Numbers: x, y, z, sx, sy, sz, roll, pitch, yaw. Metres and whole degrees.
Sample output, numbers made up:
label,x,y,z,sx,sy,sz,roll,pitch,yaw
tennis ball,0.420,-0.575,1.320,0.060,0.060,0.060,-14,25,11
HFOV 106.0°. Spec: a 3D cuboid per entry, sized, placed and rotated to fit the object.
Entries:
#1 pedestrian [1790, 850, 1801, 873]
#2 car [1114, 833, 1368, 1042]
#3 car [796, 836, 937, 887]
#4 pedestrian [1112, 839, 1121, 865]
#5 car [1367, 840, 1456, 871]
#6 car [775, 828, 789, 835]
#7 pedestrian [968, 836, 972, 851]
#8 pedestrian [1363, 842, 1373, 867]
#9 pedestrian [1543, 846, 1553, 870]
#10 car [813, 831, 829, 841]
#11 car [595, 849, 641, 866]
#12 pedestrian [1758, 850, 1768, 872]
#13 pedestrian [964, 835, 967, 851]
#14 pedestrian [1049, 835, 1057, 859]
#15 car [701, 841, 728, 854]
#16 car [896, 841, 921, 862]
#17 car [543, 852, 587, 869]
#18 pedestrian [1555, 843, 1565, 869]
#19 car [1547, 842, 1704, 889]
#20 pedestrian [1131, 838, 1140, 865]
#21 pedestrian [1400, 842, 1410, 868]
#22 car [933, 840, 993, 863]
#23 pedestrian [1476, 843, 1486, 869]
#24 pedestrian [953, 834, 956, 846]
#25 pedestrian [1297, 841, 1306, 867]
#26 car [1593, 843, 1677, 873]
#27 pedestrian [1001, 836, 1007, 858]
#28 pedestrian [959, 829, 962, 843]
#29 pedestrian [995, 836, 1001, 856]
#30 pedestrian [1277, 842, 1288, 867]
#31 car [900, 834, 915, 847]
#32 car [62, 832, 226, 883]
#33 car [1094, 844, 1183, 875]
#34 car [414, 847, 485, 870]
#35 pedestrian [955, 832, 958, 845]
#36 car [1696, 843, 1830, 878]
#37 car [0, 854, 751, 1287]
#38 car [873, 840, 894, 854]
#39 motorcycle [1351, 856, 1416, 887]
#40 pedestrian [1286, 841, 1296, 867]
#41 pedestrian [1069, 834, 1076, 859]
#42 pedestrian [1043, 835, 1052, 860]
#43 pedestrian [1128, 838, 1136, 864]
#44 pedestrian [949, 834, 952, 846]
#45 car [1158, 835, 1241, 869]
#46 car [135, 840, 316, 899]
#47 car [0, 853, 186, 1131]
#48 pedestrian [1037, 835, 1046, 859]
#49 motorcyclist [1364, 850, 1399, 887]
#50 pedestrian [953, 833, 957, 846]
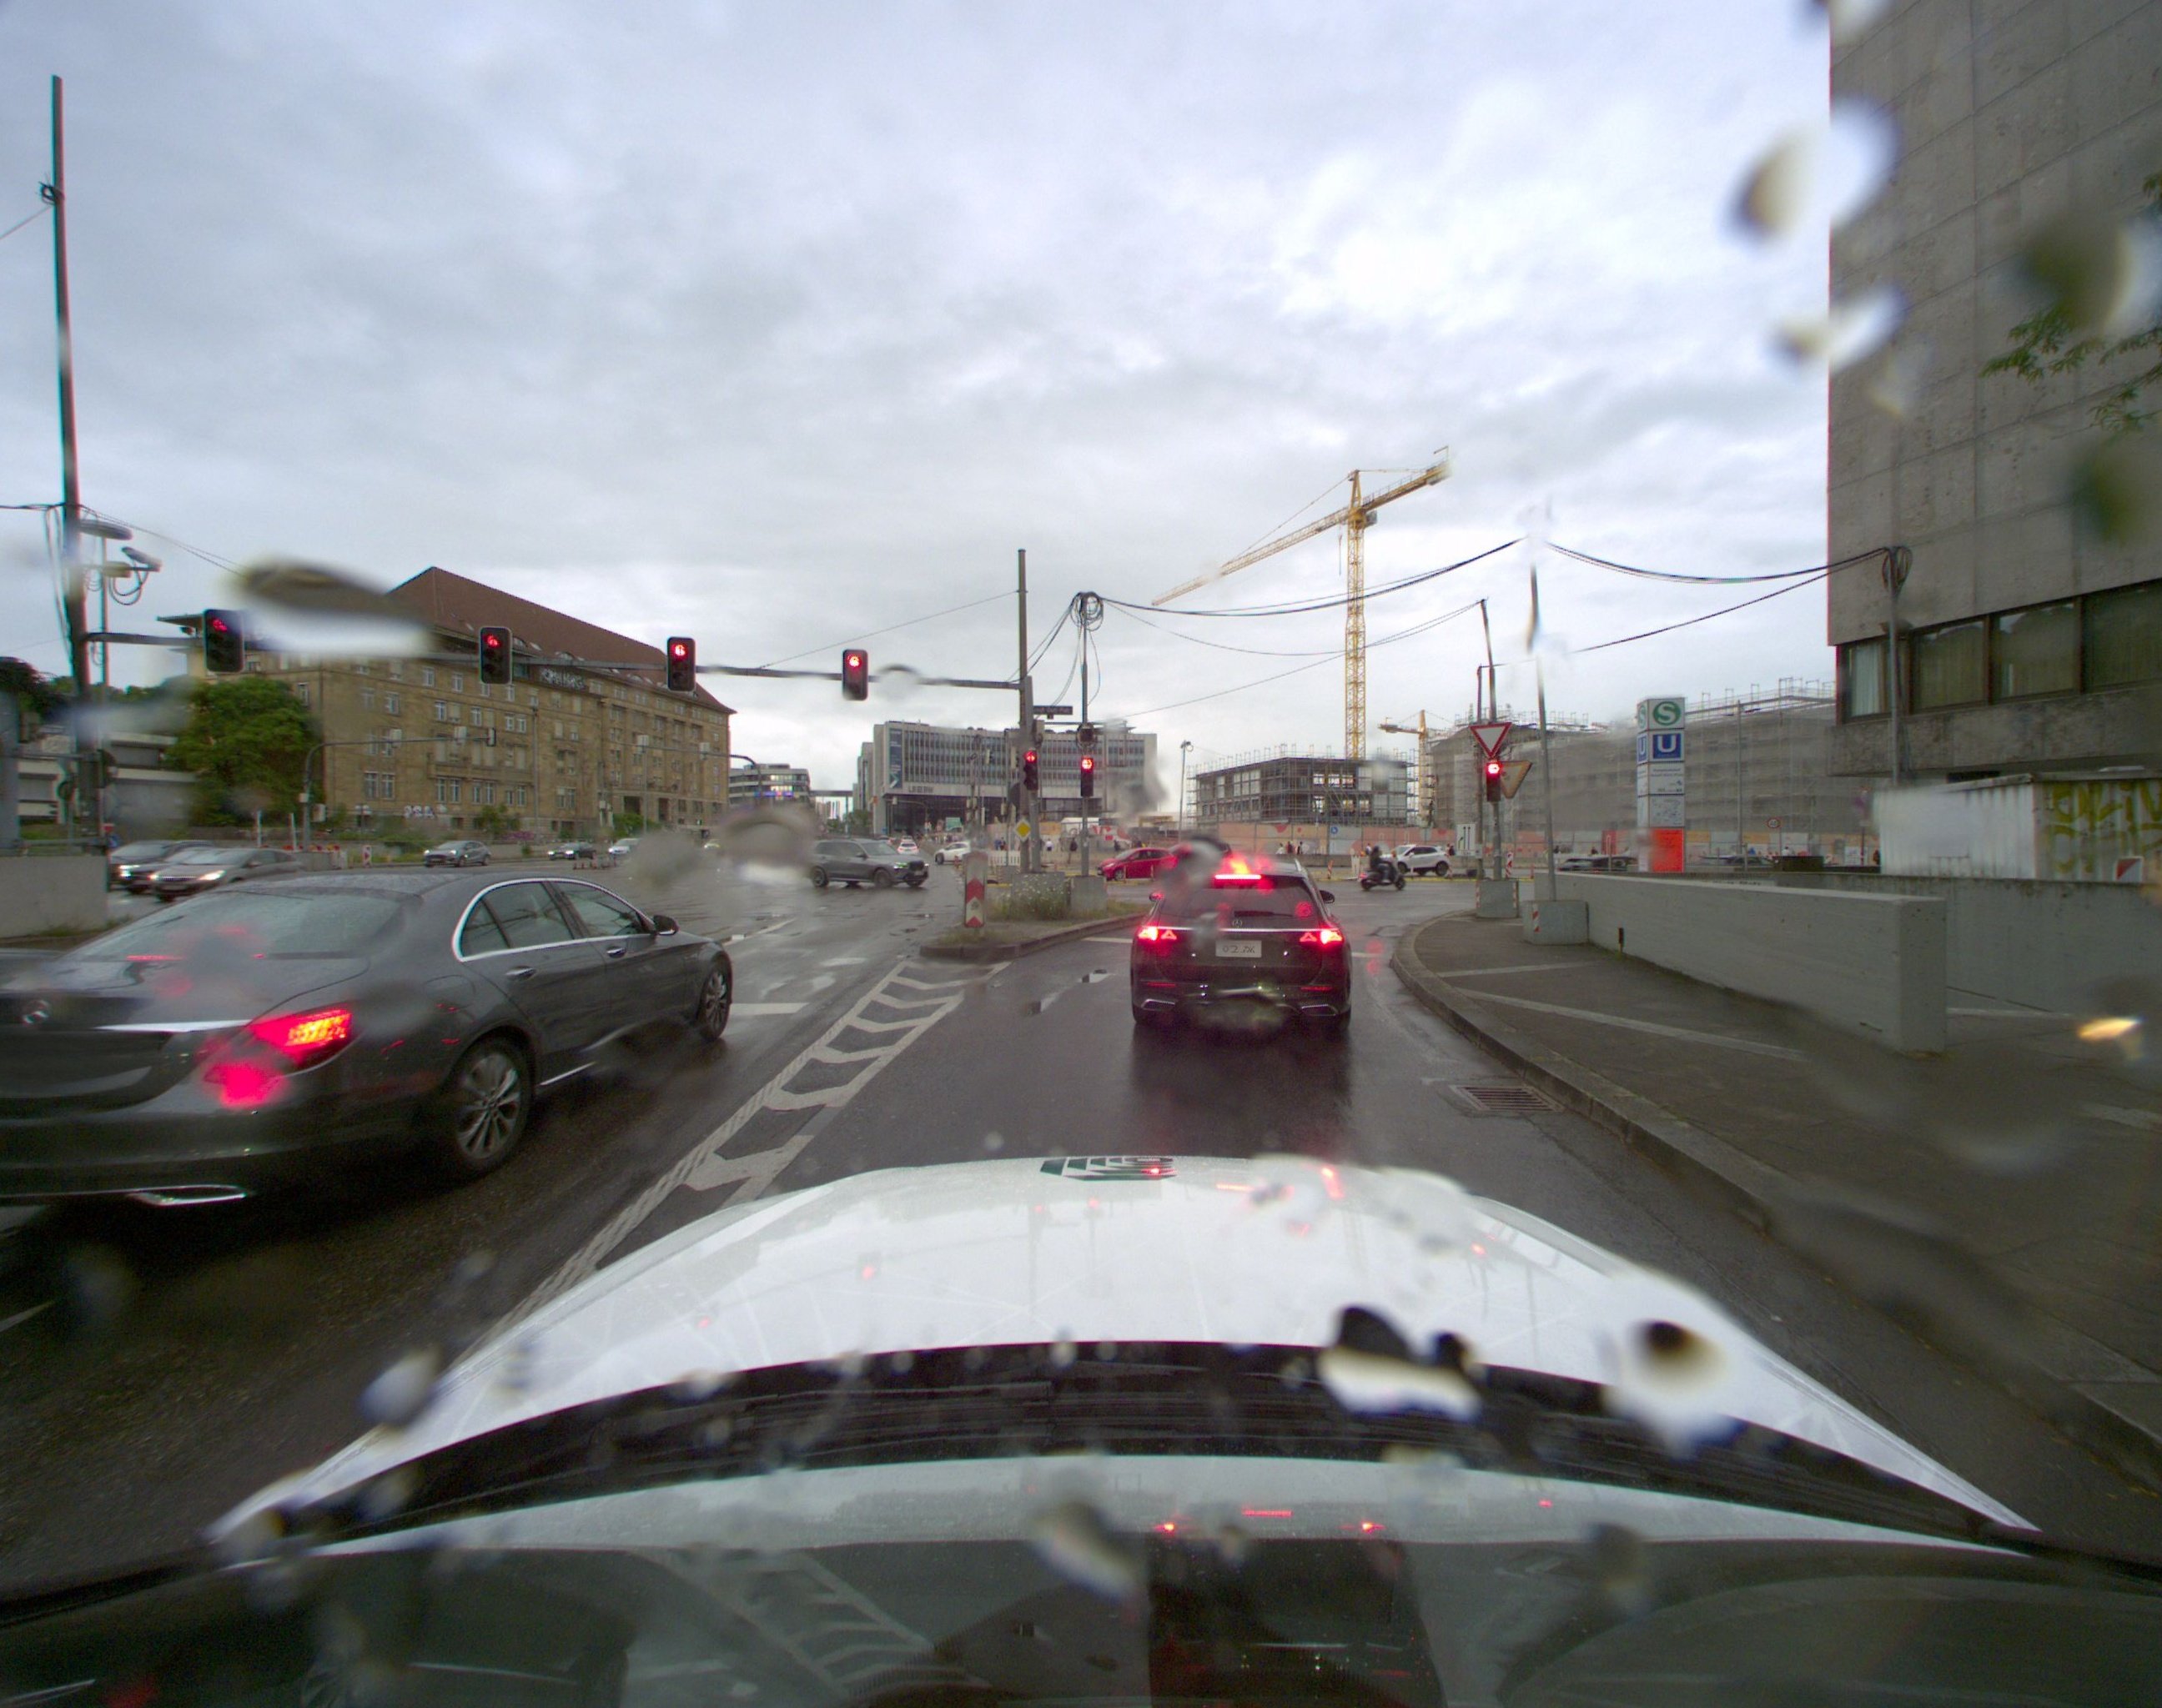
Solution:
label,x,y,z,sx,sy,sz,roll,pitch,yaw
pedestrian,59.253,0.605,67.519,0.574,1.898,0.361,1,-1,-9
car,1.455,0.644,8.129,1.881,1.544,4.001,0,-1,7
car,-8.038,0.267,30.413,5.038,1.798,2.012,0,-1,27
pedestrian,2.645,-0.132,60.136,0.570,1.898,0.364,0,-1,15
car,17.333,0.105,42.770,4.050,1.552,1.988,1,-1,-17
car,-76.782,-5.761,208.933,2.010,1.816,3.952,1,-1,-41
pedestrian,-14.053,-1.360,103.291,0.362,1.898,0.573,1,-1,-15
pedestrian,21.438,0.053,60.773,0.574,1.898,0.361,1,-1,-9
pedestrian,37.634,0.350,65.619,0.574,1.898,0.361,1,-1,-9
car,-57.143,-3.958,179.004,2.010,2.014,3.954,1,-1,-39
car,-35.947,0.279,63.286,1.768,1.260,4.179,1,-1,-10
pedestrian,57.040,0.585,68.091,0.574,1.898,0.361,1,-1,-9
pedestrian,-14.623,-1.399,103.122,0.362,1.898,0.573,1,-1,-15
pedestrian,-2.180,-0.542,63.729,0.364,1.898,0.570,1,-1,-39
car,-39.356,-0.698,87.528,1.768,1.260,3.985,1,-1,-10
car,-14.822,-0.171,69.962,1.996,1.766,4.399,1,-1,-13
car,-38.489,0.503,60.839,1.739,1.260,3.315,1,-1,-12
pedestrian,36.306,0.152,61.768,0.574,1.898,0.361,1,-1,-9
car,18.520,0.390,27.858,4.086,1.507,1.999,1,-1,-1
pedestrian,3.916,-0.194,58.461,0.574,1.898,0.361,1,-1,-6
pedestrian,24.277,0.092,60.956,0.574,1.898,0.361,1,-1,-9
car,-7.814,-0.143,53.899,3.514,1.473,1.797,0,-1,28
pedestrian,29.572,0.123,60.146,0.574,1.898,0.361,1,-1,-9
pedestrian,-20.593,-2.282,132.380,0.362,1.898,0.573,1,-1,-15
pedestrian,16.023,-0.021,59.150,0.574,1.898,0.361,1,-1,-9
car,32.414,0.252,47.699,3.994,1.708,1.989,1,-1,-16
pedestrian,-6.689,-0.596,70.625,0.363,1.898,0.572,1,-1,-24
pedestrian,-17.500,-2.605,118.199,0.362,1.898,0.573,1,-1,-15
pedestrian,-8.070,-0.745,79.062,0.362,1.898,0.572,1,-1,-20
pedestrian,15.214,0.062,61.504,0.656,1.901,0.629,1,-1,-12
car,-24.888,-1.943,116.652,1.733,1.639,3.412,1,2,-20
car,-32.506,0.152,28.437,1.625,1.646,3.983,1,-1,-12
car,2.494,0.263,35.534,3.542,1.304,1.656,1,-1,-17
car,-36.478,0.258,47.144,1.625,1.260,3.983,1,-1,-12
pedestrian,-18.601,-2.301,121.560,0.362,1.898,0.573,1,-1,-15
car,28.211,0.285,33.778,4.093,1.345,1.996,1,-1,-6
car,-3.739,0.753,5.059,1.780,1.402,4.481,1,1,-4
car,-25.177,-0.906,103.557,2.002,1.640,3.970,1,-1,-22
motorcycle,11.241,0.662,30.300,2.136,1.108,0.848,1,-1,-11
pedestrian,15.725,0.013,61.004,0.574,1.898,0.361,1,-1,-9
pedestrian,-0.640,-0.548,62.282,0.362,1.898,0.572,1,-1,-20
pedestrian,-2.618,-0.507,63.578,0.364,1.898,0.570,0,-1,-39
pedestrian,3.720,-0.218,59.816,0.572,1.898,0.363,0,-1,4
pedestrian,-21.235,-2.210,132.165,0.362,1.898,0.573,1,-1,-15
car,6.378,-0.097,44.026,3.993,1.734,1.990,1,-1,-14
car,-24.912,0.458,23.942,1.699,1.574,3.982,1,-1,-13
car,-6.727,0.723,2.819,1.883,1.515,4.995,1,-1,-4
pedestrian,-3.077,-0.556,63.394,0.364,1.898,0.570,1,-1,-35
motorcyclist,11.169,0.534,30.289,0.945,1.358,0.846,1,-1,-11
pedestrian,-19.477,-2.214,125.957,0.520,1.898,0.573,1,-1,-16
